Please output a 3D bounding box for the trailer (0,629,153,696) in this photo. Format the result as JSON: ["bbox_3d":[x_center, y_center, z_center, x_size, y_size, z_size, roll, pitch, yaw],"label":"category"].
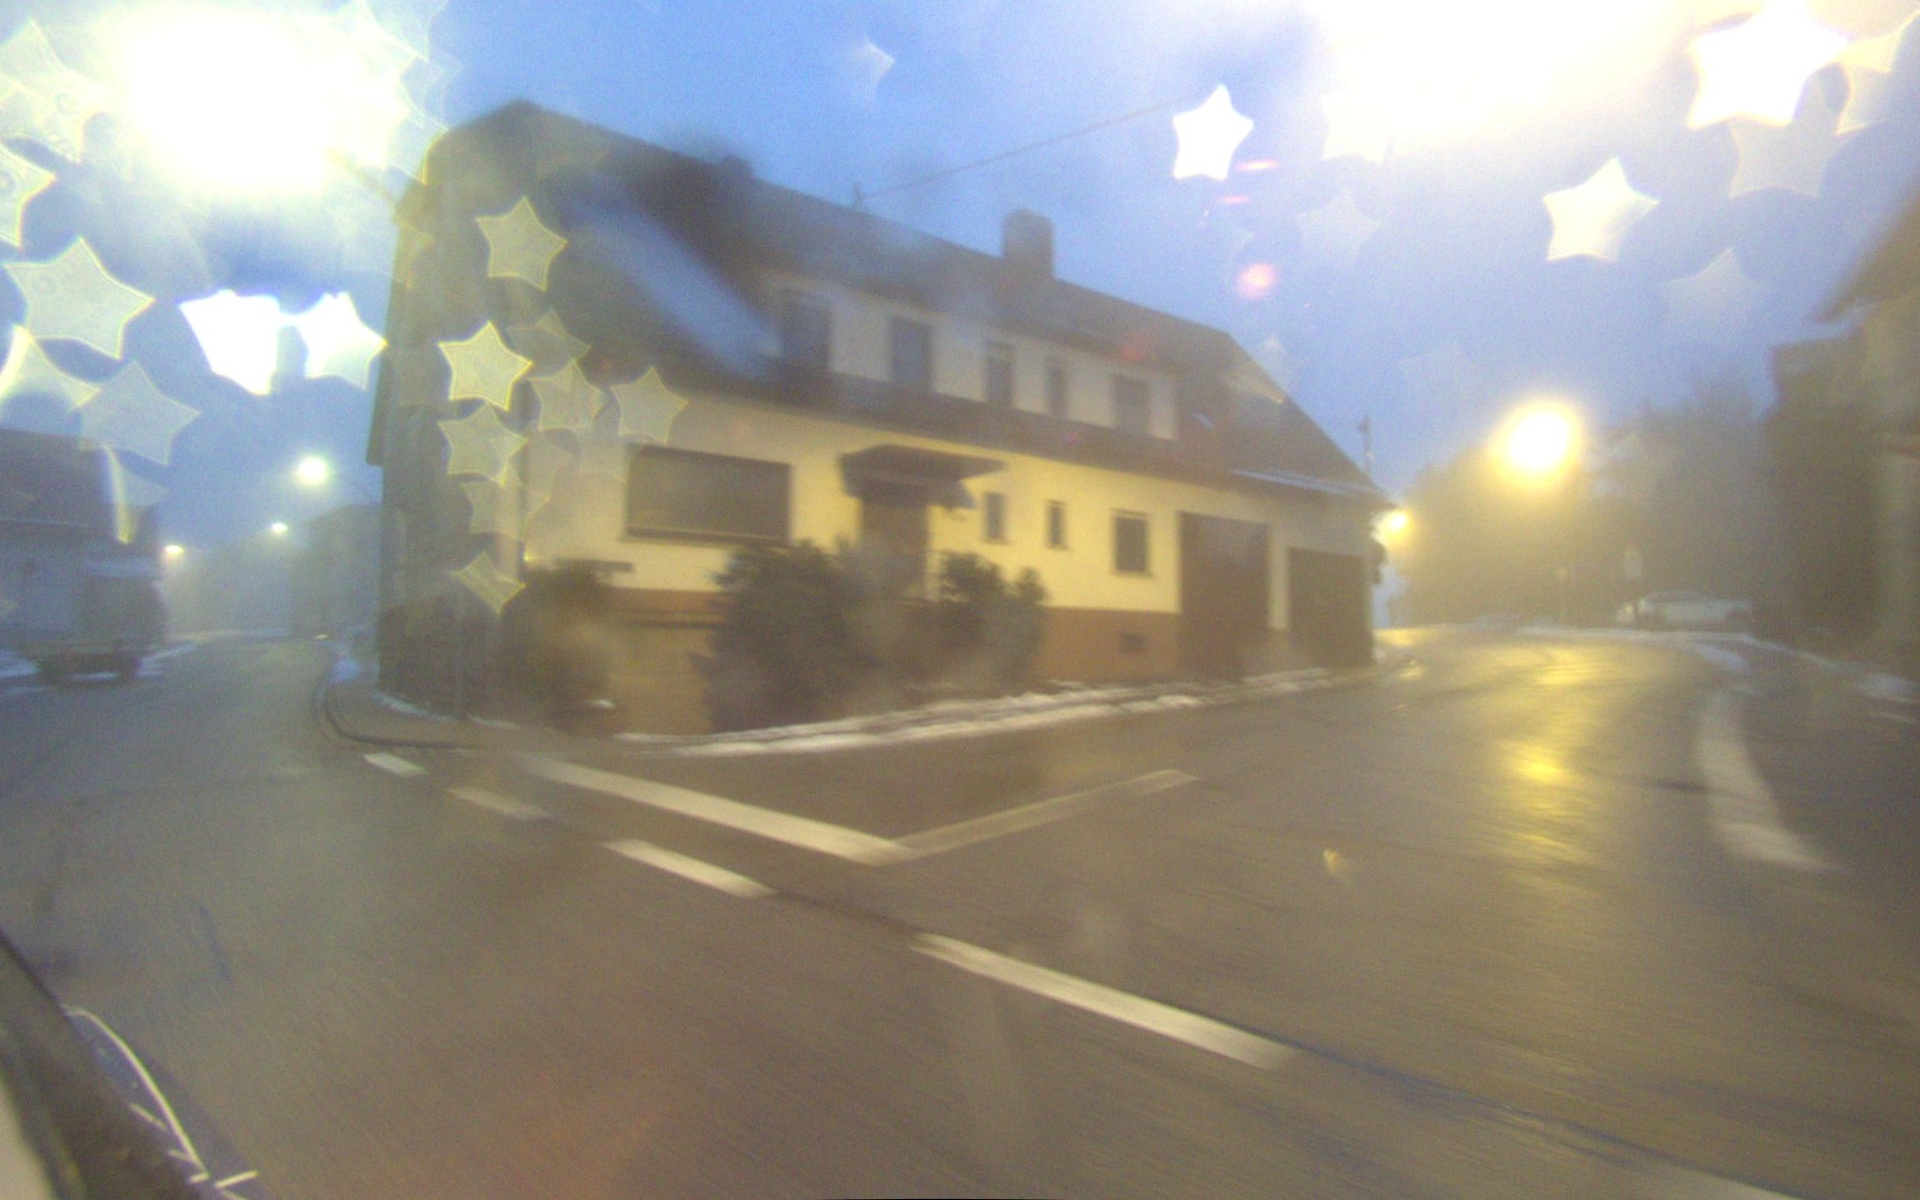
[{"bbox_3d":[-21.227,1.431,24.539,1.966,1.398,4.745,0,-1,-31],"label":"trailer"}]

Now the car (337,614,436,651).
[{"bbox_3d":[-32.851,1.826,57.994,4.728,1.679,1.895,-4,3,-34],"label":"car"}]

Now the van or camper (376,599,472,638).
[{"bbox_3d":[-35.595,1.275,67.344,2.137,2.467,5.250,0,-2,31],"label":"van or camper"}]

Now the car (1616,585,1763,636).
[{"bbox_3d":[29.374,0.444,40.845,4.665,1.818,1.974,-3,-2,39],"label":"car"}]
